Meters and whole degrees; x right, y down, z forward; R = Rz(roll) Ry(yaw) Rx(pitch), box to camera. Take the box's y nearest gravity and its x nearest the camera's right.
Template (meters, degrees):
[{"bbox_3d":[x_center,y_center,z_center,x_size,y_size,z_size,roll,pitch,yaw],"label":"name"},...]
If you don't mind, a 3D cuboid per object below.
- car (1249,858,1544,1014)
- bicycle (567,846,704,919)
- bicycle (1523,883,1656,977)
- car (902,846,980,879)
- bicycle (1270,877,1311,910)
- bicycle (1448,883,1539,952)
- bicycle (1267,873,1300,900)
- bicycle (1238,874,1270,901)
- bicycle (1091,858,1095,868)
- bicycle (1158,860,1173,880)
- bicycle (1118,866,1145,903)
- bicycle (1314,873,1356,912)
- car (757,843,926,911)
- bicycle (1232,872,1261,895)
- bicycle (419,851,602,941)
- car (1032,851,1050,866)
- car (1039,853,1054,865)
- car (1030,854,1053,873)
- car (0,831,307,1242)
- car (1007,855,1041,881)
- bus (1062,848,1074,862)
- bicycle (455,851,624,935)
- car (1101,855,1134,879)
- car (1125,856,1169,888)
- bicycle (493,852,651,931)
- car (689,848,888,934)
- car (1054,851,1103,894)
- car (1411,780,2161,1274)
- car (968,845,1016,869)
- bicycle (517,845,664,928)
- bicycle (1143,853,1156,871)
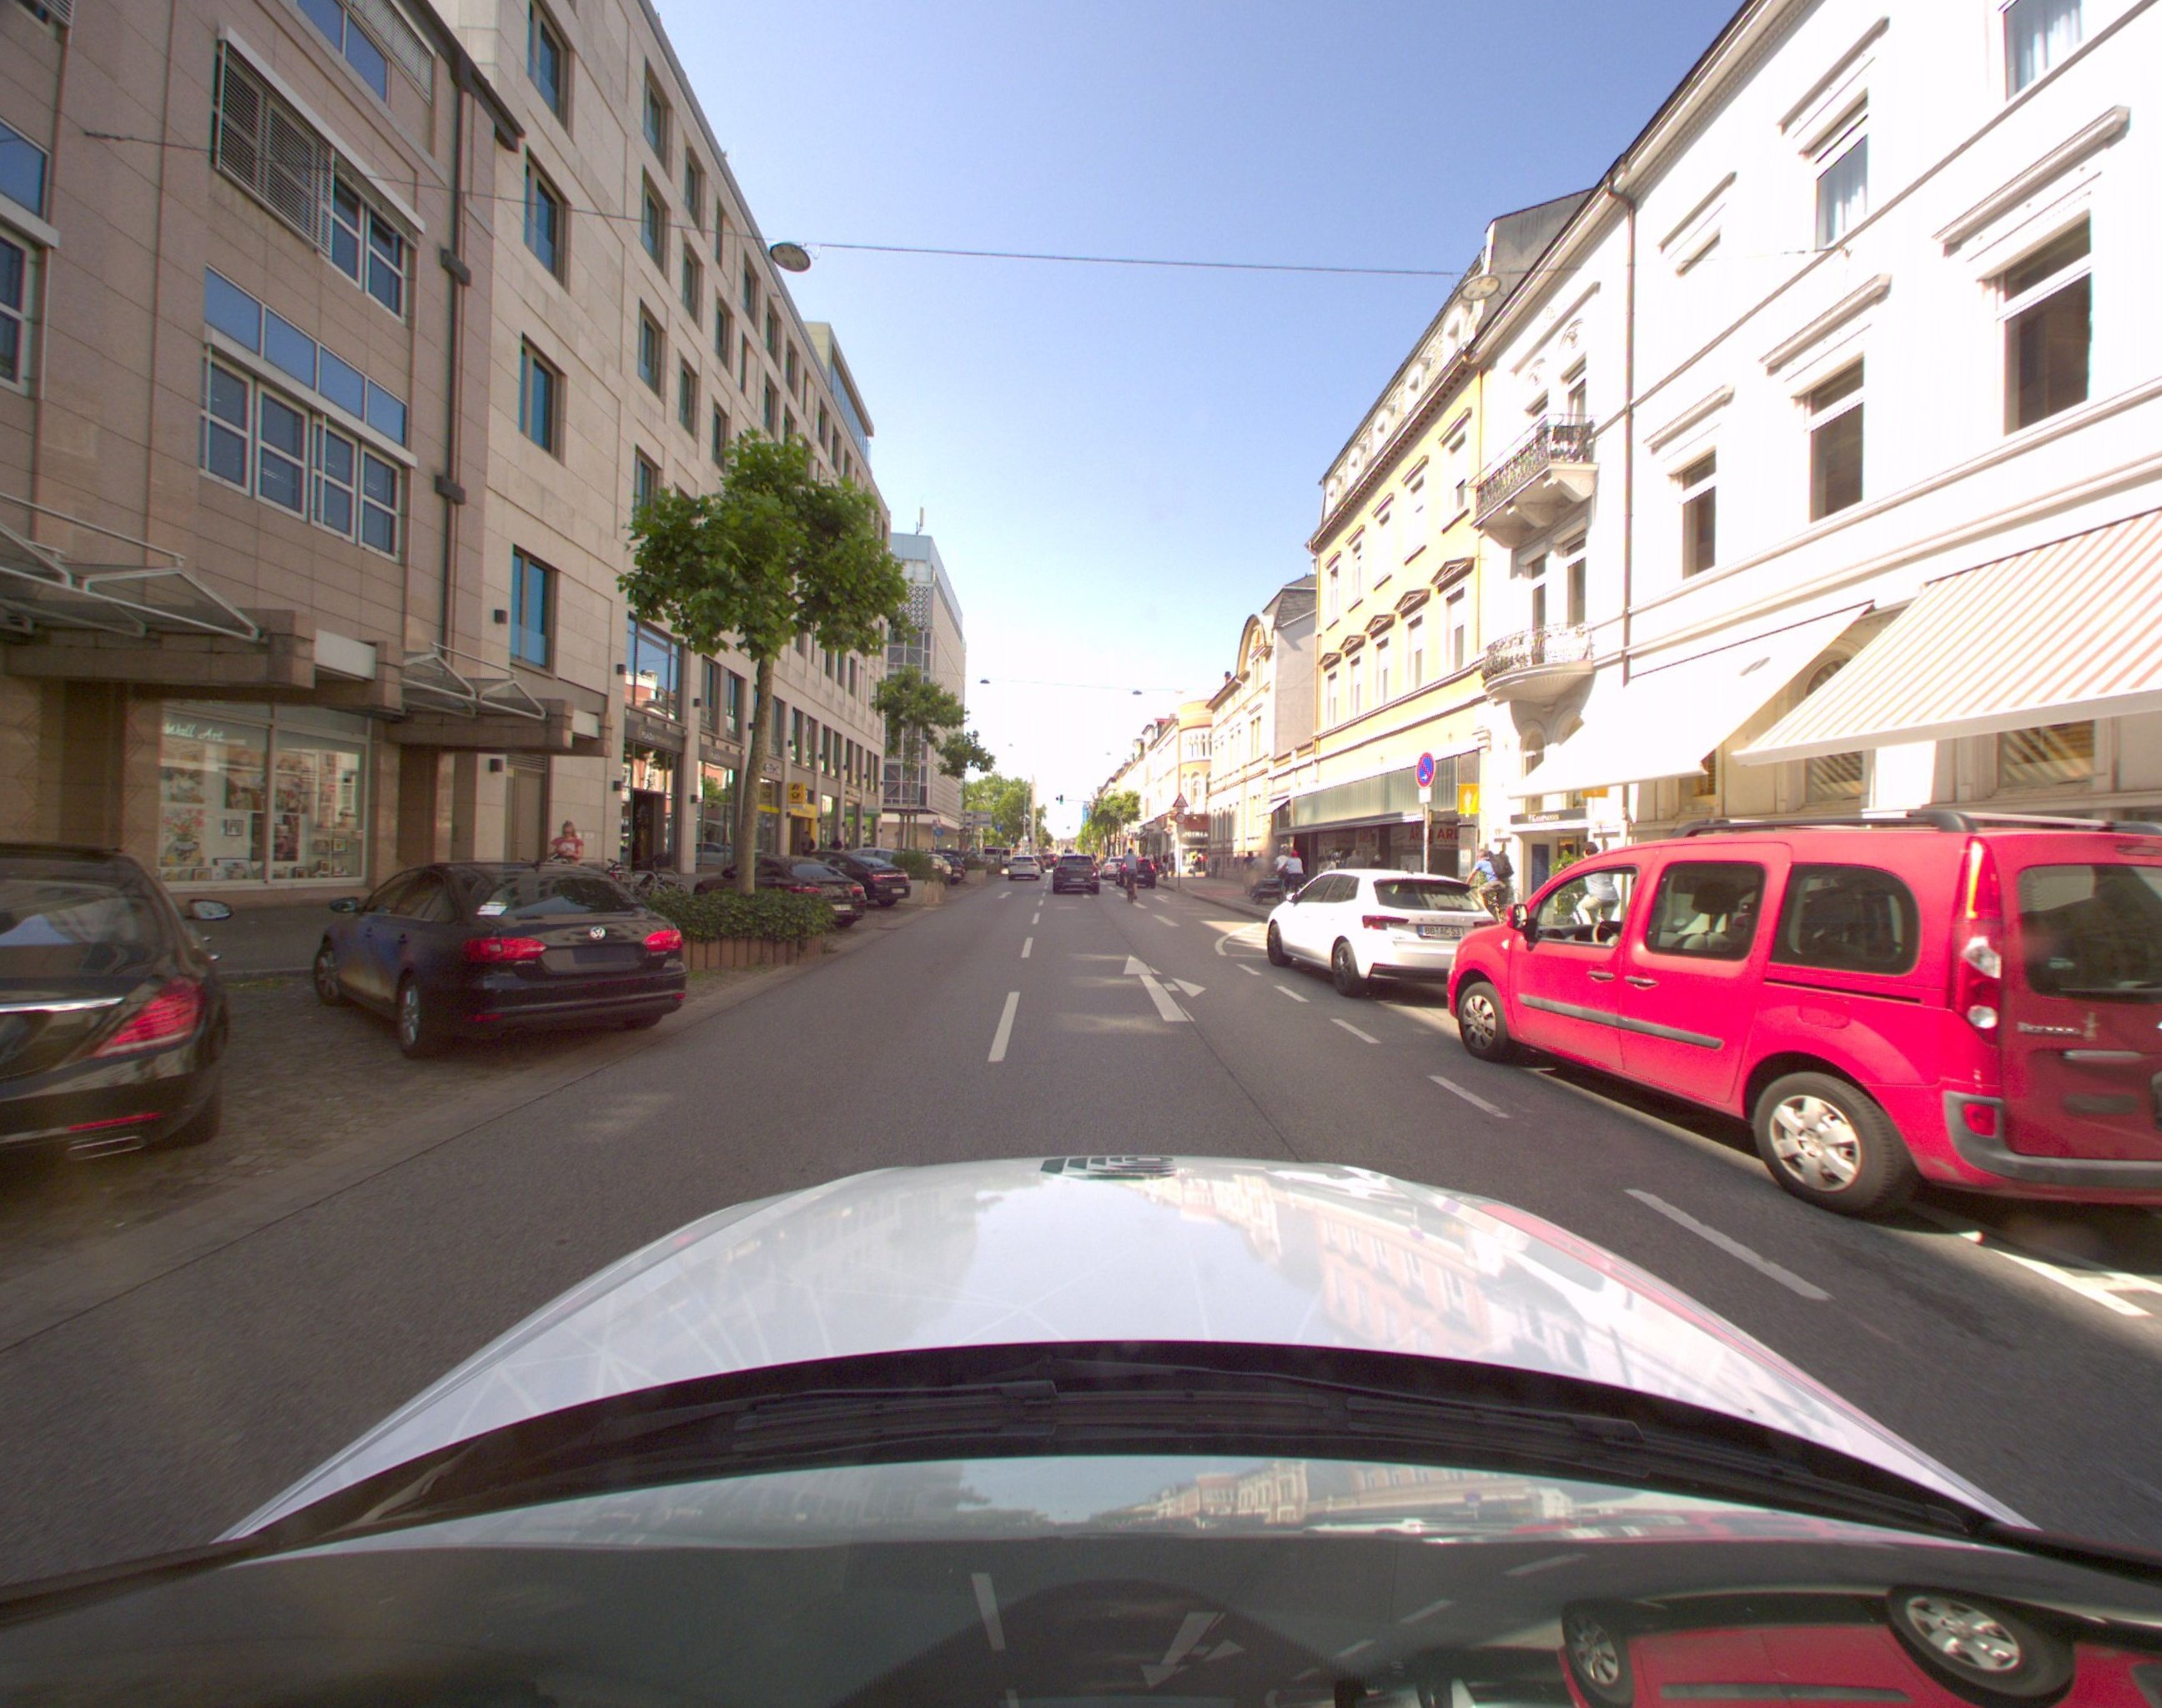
[{"bbox_3d":[3.773,0.877,10.778,1.809,1.466,4.573,3,1,-4],"label":"car"},{"bbox_3d":[-8.303,0.537,15.286,2.070,1.219,0.755,4,-1,-18],"label":"bicycle"},{"bbox_3d":[7.149,1.023,11.584,0.553,1.120,2.071,-1,0,-1],"label":"bicycle"},{"bbox_3d":[-7.766,0.463,45.507,3.979,1.500,1.715,5,-1,-4],"label":"car"},{"bbox_3d":[6.118,1.141,23.877,0.645,0.879,2.103,1,0,0],"label":"bicycle"},{"bbox_3d":[7.730,1.155,15.376,0.645,1.120,2.102,1,0,-1],"label":"bicycle"},{"bbox_3d":[7.141,1.137,28.847,0.645,0.879,2.102,1,0,0],"label":"bicycle"},{"bbox_3d":[6.078,1.159,28.746,0.644,0.879,2.389,1,0,0],"label":"bicycle"},{"bbox_3d":[1.420,0.995,94.174,0.418,1.135,1.910,1,0,0],"label":"bicycle"},{"bbox_3d":[5.030,0.935,48.696,0.553,1.120,2.242,3,0,-1],"label":"bicycle"},{"bbox_3d":[1.662,0.990,27.337,0.663,1.120,2.242,3,0,-1],"label":"bicycle"},{"bbox_3d":[7.203,1.071,23.181,0.561,0.996,2.103,1,0,0],"label":"bicycle"},{"bbox_3d":[-6.593,0.585,22.358,4.301,1.513,1.844,4,0,28],"label":"car"},{"bbox_3d":[6.838,1.210,33.757,0.737,0.879,2.137,1,0,0],"label":"bicycle"},{"bbox_3d":[-8.110,0.588,11.635,2.059,1.130,0.617,4,-1,-2],"label":"bicycle"},{"bbox_3d":[-3.908,0.398,79.743,1.739,1.441,3.997,1,0,-2],"label":"car"},{"bbox_3d":[-4.073,0.571,97.095,1.739,1.441,3.997,1,0,-2],"label":"car"},{"bbox_3d":[-3.031,0.696,62.820,1.739,1.441,3.997,1,0,-2],"label":"car"},{"bbox_3d":[-6.053,0.664,4.535,4.697,1.533,2.003,2,0,40],"label":"car"},{"bbox_3d":[-3.282,0.779,47.501,1.858,1.441,3.996,1,0,-3],"label":"car"},{"bbox_3d":[-3.534,0.287,222.250,2.765,3.605,8.958,1,0,-5],"label":"bus"},{"bbox_3d":[-8.199,0.592,12.397,2.064,1.130,0.462,4,-1,-10],"label":"bicycle"},{"bbox_3d":[2.267,0.768,51.110,1.816,1.385,3.999,1,1,-1],"label":"car"},{"bbox_3d":[3.249,0.867,40.635,1.817,1.409,3.185,3,1,-1],"label":"car"},{"bbox_3d":[-8.181,0.601,13.151,2.064,1.130,0.462,4,-1,-10],"label":"bicycle"},{"bbox_3d":[-6.240,0.688,17.120,4.593,1.408,1.918,3,1,41],"label":"car"},{"bbox_3d":[-0.150,0.683,32.580,1.828,1.527,3.998,-1,1,-2],"label":"car"},{"bbox_3d":[4.145,0.679,5.337,1.824,1.863,4.346,3,0,-5],"label":"car"},{"bbox_3d":[-9.032,0.297,82.333,4.664,2.003,1.953,4,-1,38],"label":"car"},{"bbox_3d":[-8.299,0.554,13.835,2.064,1.288,0.366,4,-1,-10],"label":"bicycle"},{"bbox_3d":[4.769,0.553,56.881,0.553,1.209,2.242,5,0,-1],"label":"bicycle"}]
